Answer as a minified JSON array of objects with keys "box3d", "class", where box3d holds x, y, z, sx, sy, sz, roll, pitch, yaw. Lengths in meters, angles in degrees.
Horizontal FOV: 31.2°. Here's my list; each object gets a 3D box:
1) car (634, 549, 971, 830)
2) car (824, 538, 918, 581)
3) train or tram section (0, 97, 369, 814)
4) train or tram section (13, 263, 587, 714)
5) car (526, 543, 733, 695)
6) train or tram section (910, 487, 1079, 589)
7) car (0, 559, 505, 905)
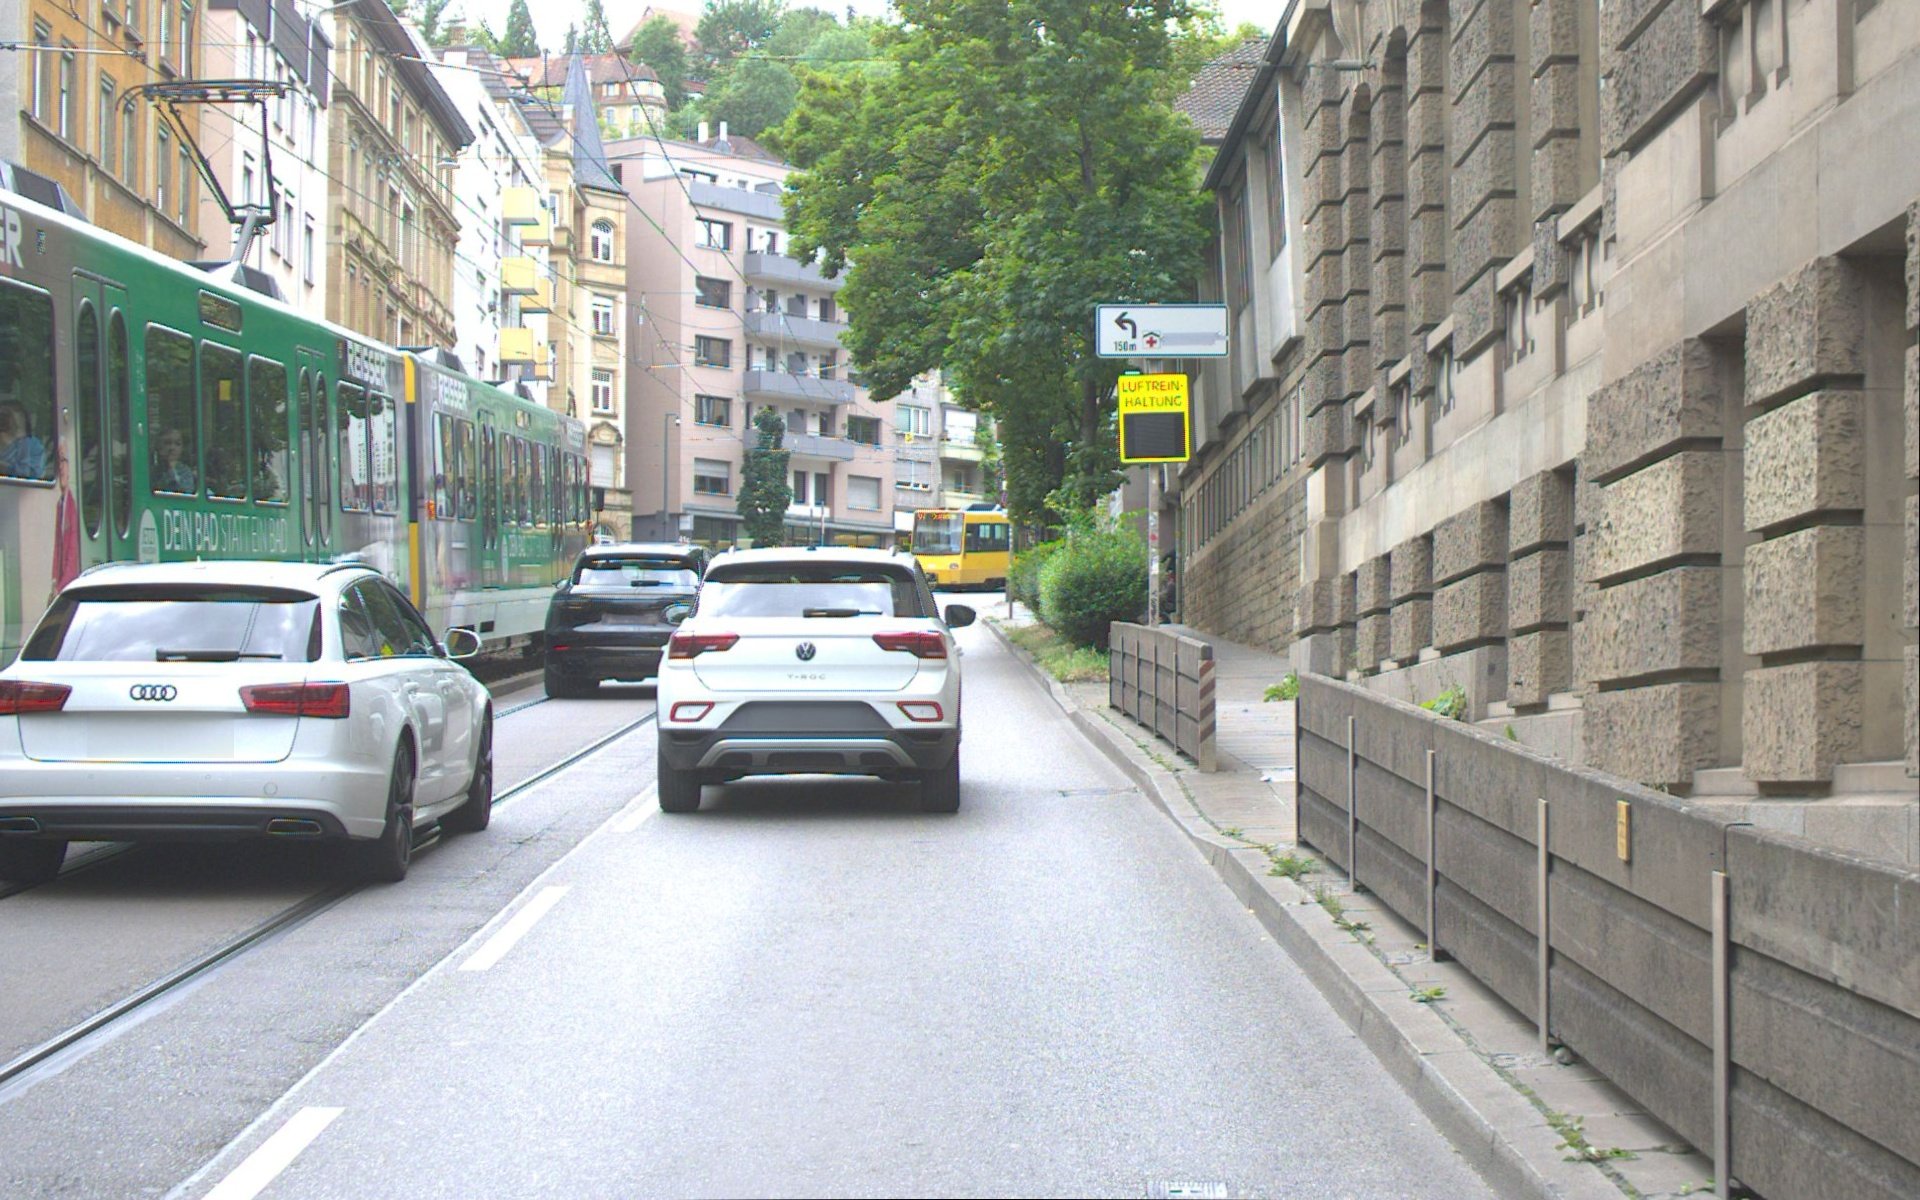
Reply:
[{"box3d":[-0.910,0.476,21.317,1.879,1.549,4.000,1,1,-1],"class":"car"},{"box3d":[-4.261,-1.936,165.744,1.998,2.028,4.691,1,1,38],"class":"car"},{"box3d":[-6.436,-0.809,19.697,2.876,3.713,18.758,2,1,0],"class":"train or tram section"},{"box3d":[-6.610,-1.096,38.495,2.876,3.713,18.758,2,1,-1],"class":"train or tram section"},{"box3d":[-3.587,0.162,38.000,2.038,1.566,4.359,0,1,-2],"class":"car"},{"box3d":[1.721,-2.674,151.058,3.019,4.199,18.847,1,1,14],"class":"train or tram section"},{"box3d":[-3.441,0.539,16.784,1.879,1.450,4.617,0,0,-1],"class":"car"}]
